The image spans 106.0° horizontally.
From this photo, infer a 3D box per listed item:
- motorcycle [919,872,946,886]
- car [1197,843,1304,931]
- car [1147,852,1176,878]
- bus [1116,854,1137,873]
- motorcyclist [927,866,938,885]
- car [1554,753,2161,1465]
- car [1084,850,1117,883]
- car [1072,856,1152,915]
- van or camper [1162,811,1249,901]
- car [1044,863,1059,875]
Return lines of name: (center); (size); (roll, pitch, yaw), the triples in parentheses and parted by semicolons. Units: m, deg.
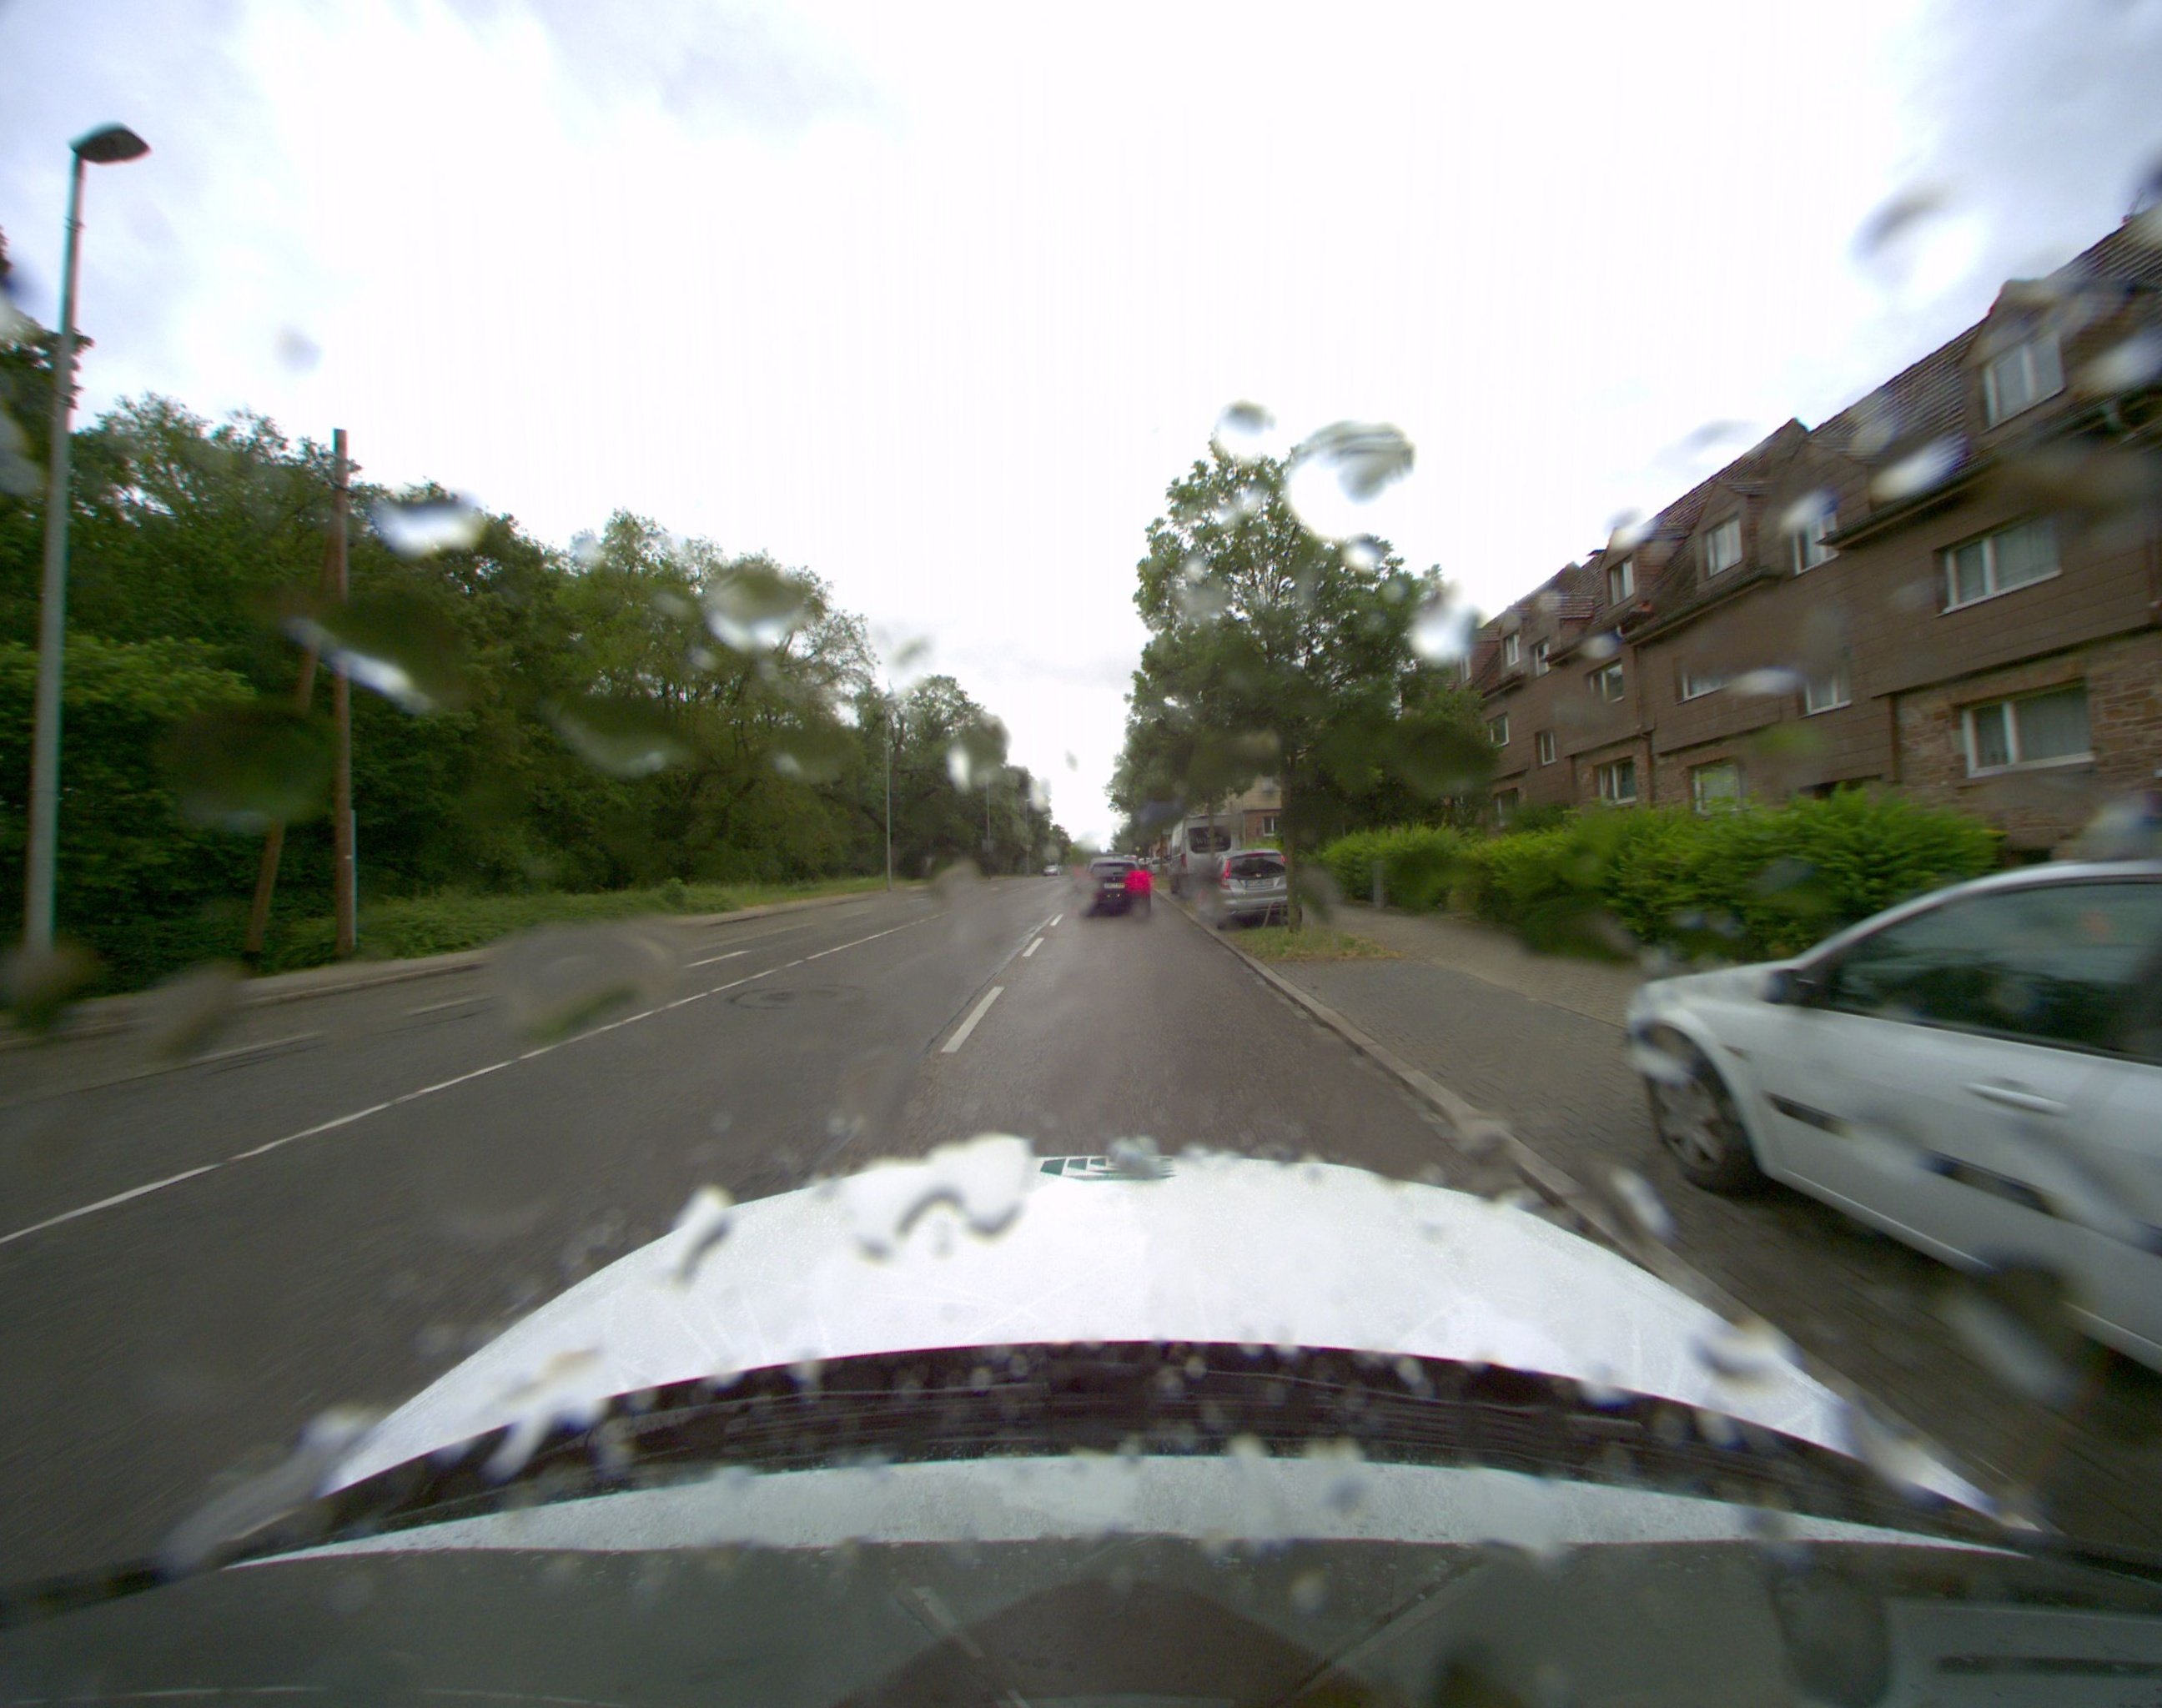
motorcycle: (-13.103, 2.200, 71.709); (2.165, 1.118, 0.827); (-1, 0, 15)
car: (3.482, 0.640, 17.320); (1.661, 1.528, 3.836); (-5, -1, 5)
car: (5.557, 0.703, 56.902); (1.694, 1.584, 4.647); (-5, 0, 3)
bus: (7.361, 1.519, 130.815); (2.608, 2.847, 8.307); (-3, -1, 8)
motorcyclist: (-13.069, 1.892, 71.698); (0.644, 1.681, 0.817); (-1, 0, 16)
car: (3.327, 0.521, 2.139); (1.815, 1.602, 4.480); (-4, 0, 5)
car: (1.328, 0.790, 52.719); (1.985, 2.014, 4.002); (-1, -1, 3)
car: (0.836, 0.819, 22.450); (1.986, 1.453, 4.001); (1, -1, 1)
van or camper: (4.220, 0.064, 28.923); (2.189, 2.651, 7.307); (-4, 0, 3)
car: (-4.086, 2.095, 113.583); (1.684, 1.483, 4.451); (-4, -1, 0)
